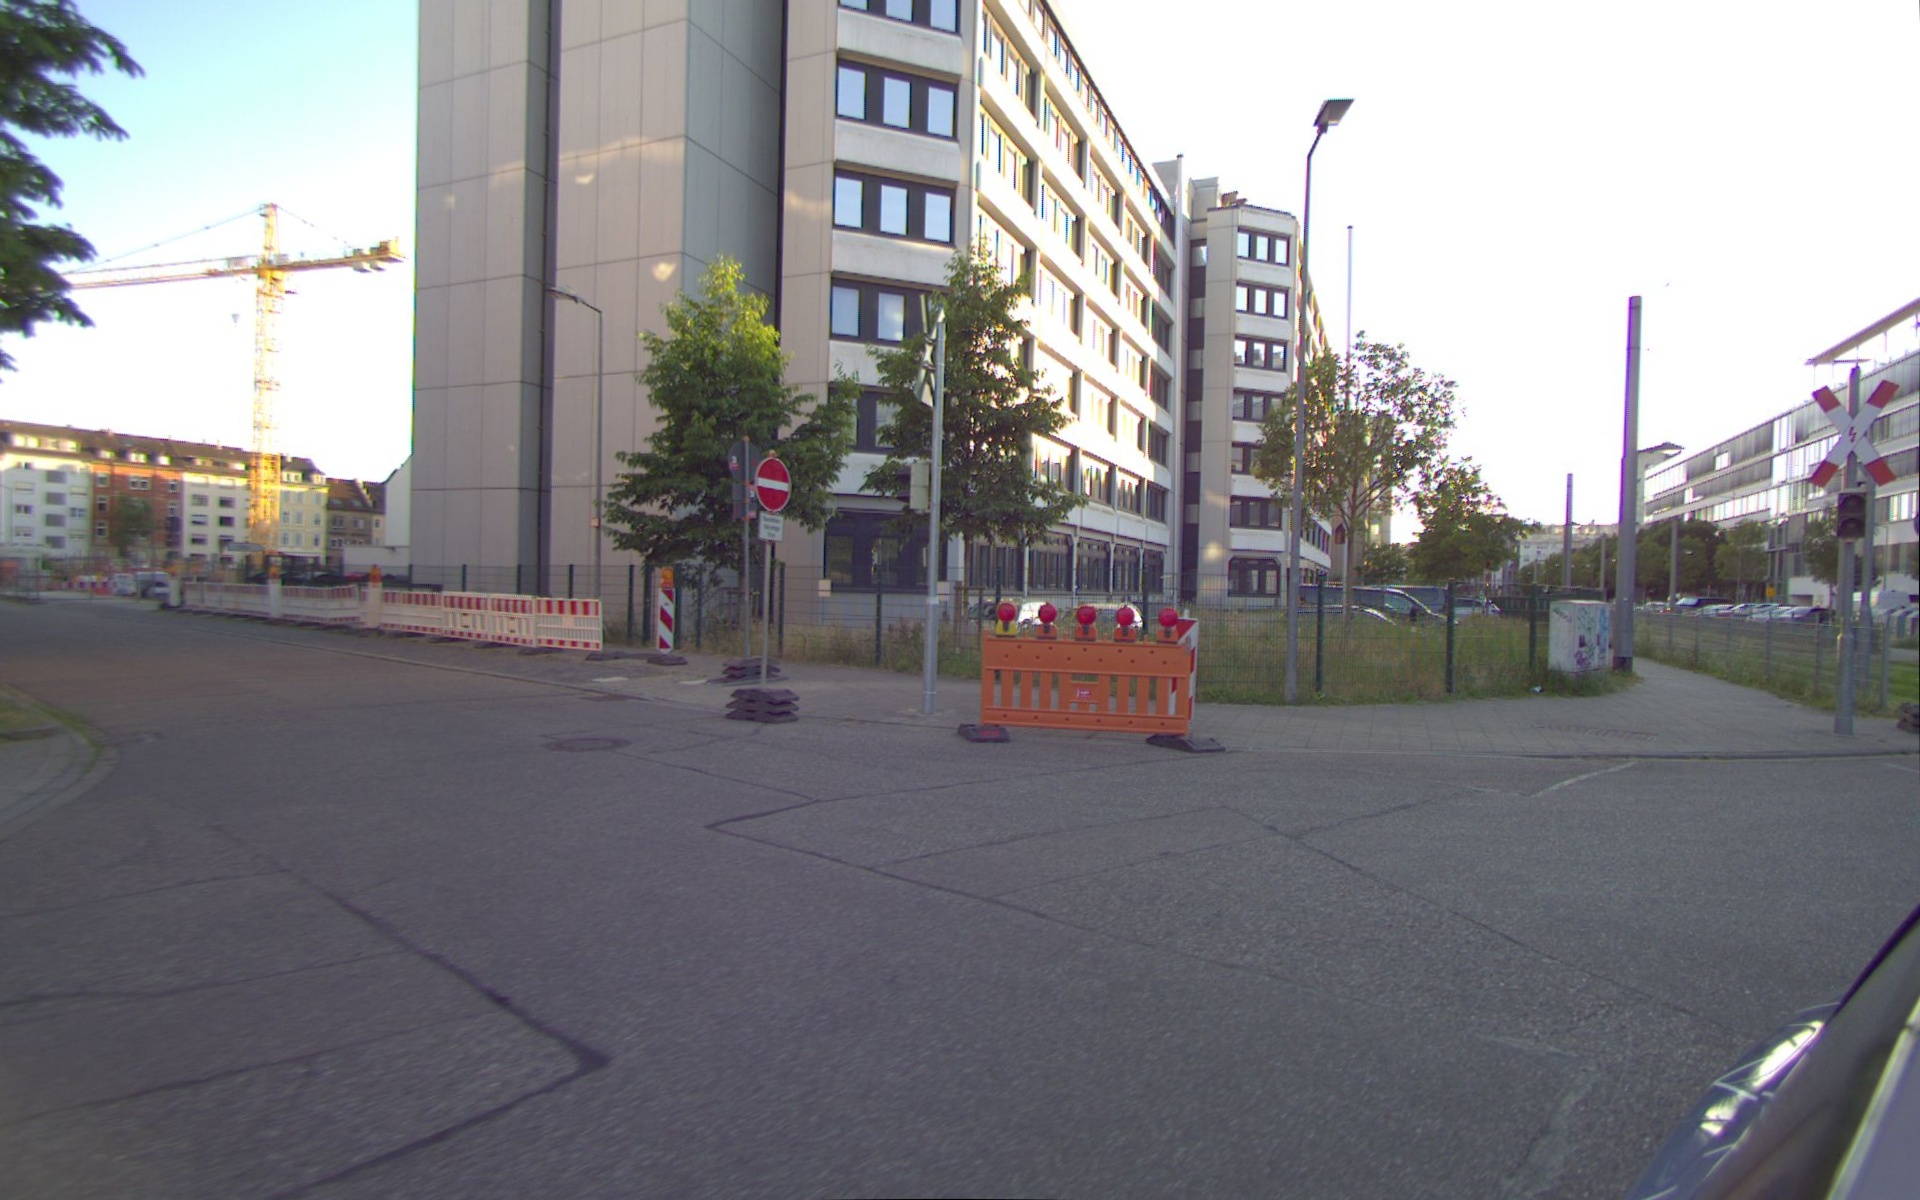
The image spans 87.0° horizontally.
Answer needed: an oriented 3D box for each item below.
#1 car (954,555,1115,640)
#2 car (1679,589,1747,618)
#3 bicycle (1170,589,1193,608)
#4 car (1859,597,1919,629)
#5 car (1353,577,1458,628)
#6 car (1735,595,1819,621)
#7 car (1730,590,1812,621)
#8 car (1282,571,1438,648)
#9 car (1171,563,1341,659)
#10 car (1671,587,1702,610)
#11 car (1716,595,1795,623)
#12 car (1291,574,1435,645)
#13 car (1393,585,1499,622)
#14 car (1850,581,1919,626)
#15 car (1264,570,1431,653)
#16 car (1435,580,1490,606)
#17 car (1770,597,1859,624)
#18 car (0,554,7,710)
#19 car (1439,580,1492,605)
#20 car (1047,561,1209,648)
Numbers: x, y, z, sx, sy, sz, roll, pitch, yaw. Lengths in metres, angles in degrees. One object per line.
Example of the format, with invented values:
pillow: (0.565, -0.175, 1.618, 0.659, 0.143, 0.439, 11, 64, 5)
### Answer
car: (1.983, -0.080, 26.436, 3.930, 2.039, 1.997, 1, 1, -41)
car: (55.682, 0.246, 74.863, 4.086, 1.984, 1.721, 1, 1, -11)
bicycle: (11.760, -0.064, 53.673, 0.806, 0.962, 2.197, 2, 1, 24)
car: (46.633, 0.622, 50.748, 1.618, 1.530, 3.380, 2, 1, 30)
car: (18.851, 0.072, 42.903, 3.960, 2.039, 1.982, 1, 1, 26)
car: (47.718, 0.469, 59.120, 3.916, 1.393, 1.721, 1, 1, -13)
car: (49.498, 0.312, 61.779, 3.917, 1.778, 1.721, 1, 1, -11)
car: (11.559, 0.236, 29.266, 3.964, 2.039, 1.980, 2, 1, 28)
car: (6.955, 0.227, 23.622, 3.930, 2.039, 1.997, 1, 1, -41)
car: (84.025, -0.171, 117.107, 1.977, 2.618, 3.970, 1, 1, 22)
car: (50.438, 0.543, 64.187, 3.917, 1.664, 1.721, 1, 1, -11)
car: (12.543, 0.255, 31.508, 3.964, 2.039, 1.980, 2, 1, 28)
car: (22.742, 0.140, 47.453, 4.362, 1.613, 1.801, 2, 1, 26)
car: (63.928, 0.212, 69.788, 1.985, 2.911, 6.201, 3, 2, 25)
car: (10.410, 0.251, 27.217, 3.964, 2.039, 1.980, 2, 1, 28)
car: (42.693, -0.602, 86.048, 3.955, 2.039, 1.985, 2, 1, 23)
car: (47.096, 0.566, 55.787, 3.916, 1.393, 1.721, 1, 1, -13)
car: (-12.203, 0.314, 9.379, 1.992, 1.614, 4.744, 1, 1, 41)
car: (44.233, -0.651, 88.674, 3.955, 2.039, 1.985, 2, 1, 23)
car: (4.309, 0.094, 25.680, 3.930, 2.039, 1.997, 1, 1, -41)
